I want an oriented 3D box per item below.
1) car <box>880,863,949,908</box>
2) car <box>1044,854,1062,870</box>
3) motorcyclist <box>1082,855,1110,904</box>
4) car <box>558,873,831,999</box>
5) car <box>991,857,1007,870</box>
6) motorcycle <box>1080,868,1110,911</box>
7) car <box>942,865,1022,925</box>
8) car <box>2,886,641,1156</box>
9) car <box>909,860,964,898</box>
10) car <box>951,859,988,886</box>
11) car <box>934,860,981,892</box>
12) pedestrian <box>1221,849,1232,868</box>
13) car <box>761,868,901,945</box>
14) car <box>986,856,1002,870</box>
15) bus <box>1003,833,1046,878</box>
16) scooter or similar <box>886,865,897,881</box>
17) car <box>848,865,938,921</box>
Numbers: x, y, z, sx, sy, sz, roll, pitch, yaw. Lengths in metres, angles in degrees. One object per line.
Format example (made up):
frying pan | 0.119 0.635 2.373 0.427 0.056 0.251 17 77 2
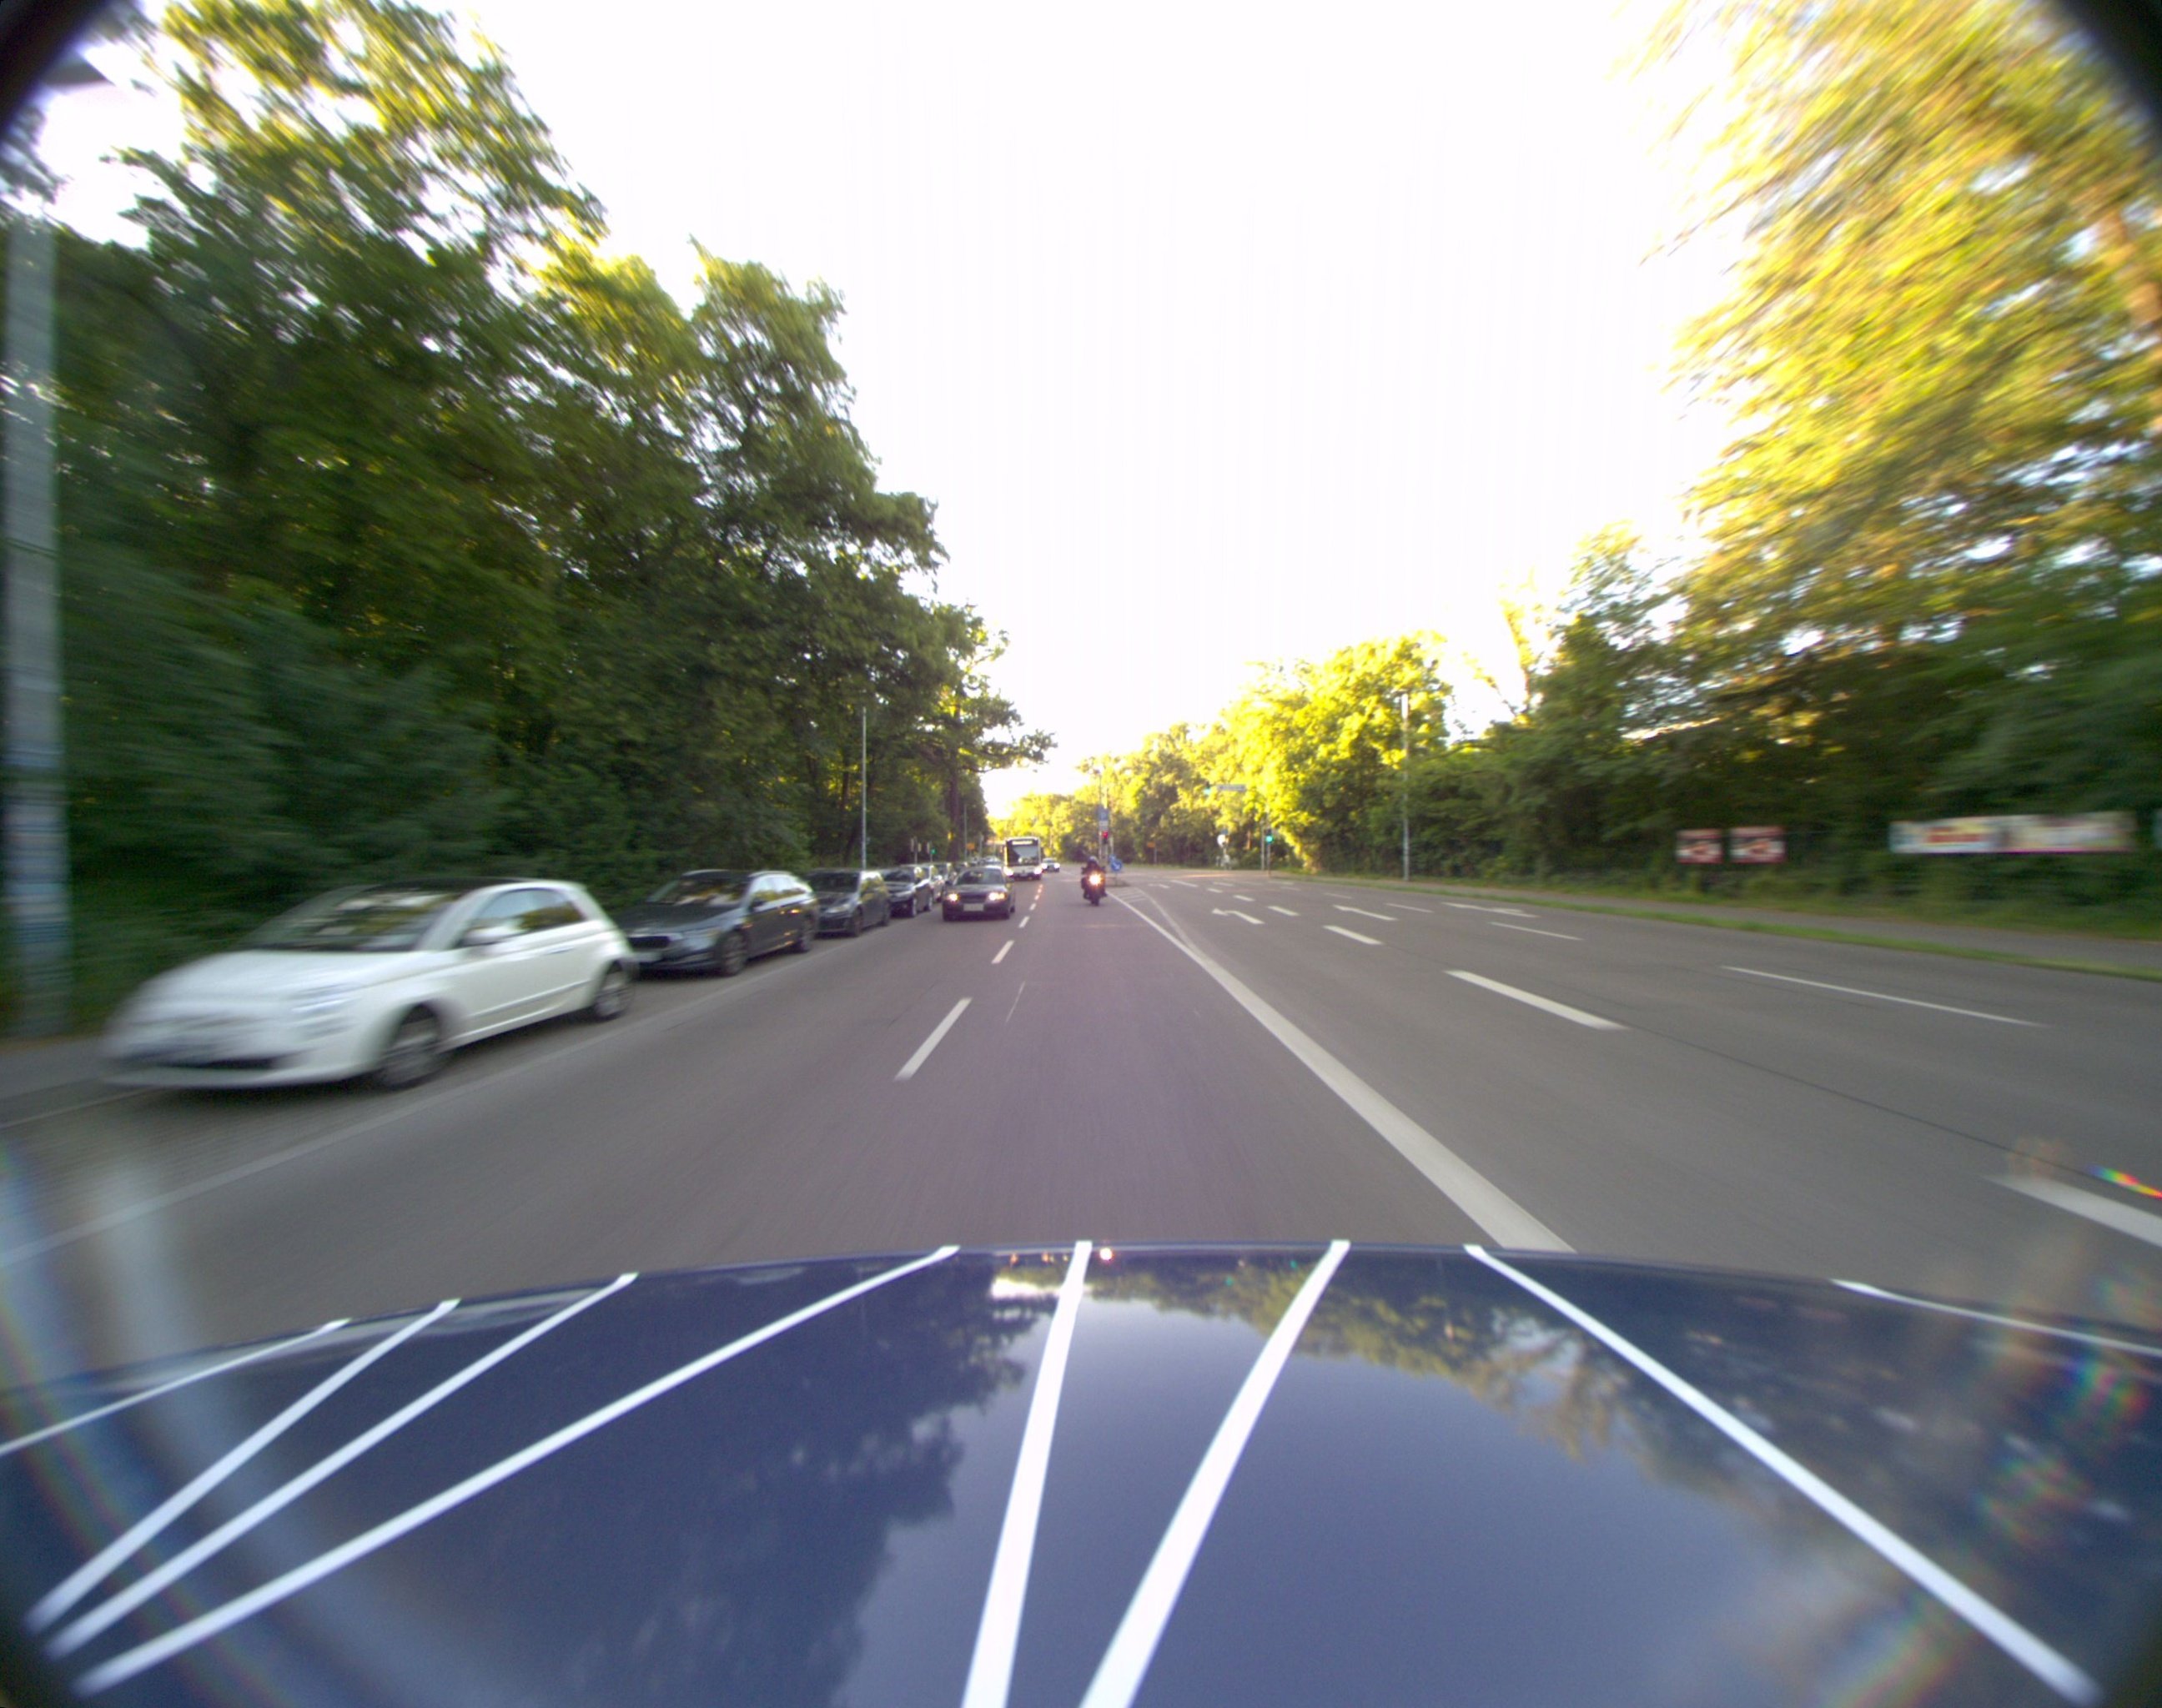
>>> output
car | -5.906 1.079 27.451 1.722 1.403 4.123 0 1 -2
car | -3.005 0.806 81.008 1.679 1.552 3.993 -2 0 -3
motorcyclist | 0.479 0.794 24.250 0.830 1.484 1.024 -2 1 3
car | -5.629 1.086 11.937 1.722 1.403 4.906 0 1 1
car | -9.819 1.096 91.341 1.767 1.460 5.114 0 1 -4
motorcycle | 0.476 1.090 24.256 0.830 1.212 2.604 -2 0 3
car | -2.646 1.059 21.089 1.679 1.351 3.993 -2 0 -1
car | -5.683 1.098 6.463 1.681 1.455 3.688 0 1 1
car | -6.198 1.048 33.027 1.722 1.460 4.201 0 1 -2
car | -6.525 1.058 44.818 1.722 1.460 3.755 0 1 -2
car | -6.153 1.057 38.400 1.722 1.460 4.986 0 1 -2
pedestrian | 13.759 0.422 71.804 0.820 1.701 0.649 -1 1 -13
car | -5.489 1.076 17.308 1.722 1.403 4.486 0 1 -1
car | -9.809 0.966 85.617 1.723 1.460 3.870 0 1 -8
bus | -4.218 0.110 58.462 2.813 3.030 12.881 -2 0 -3
scooter or similar | -13.500 1.343 54.042 0.379 1.137 1.223 -1 0 3
car | -5.455 1.079 22.585 1.722 1.403 4.486 0 1 -2
